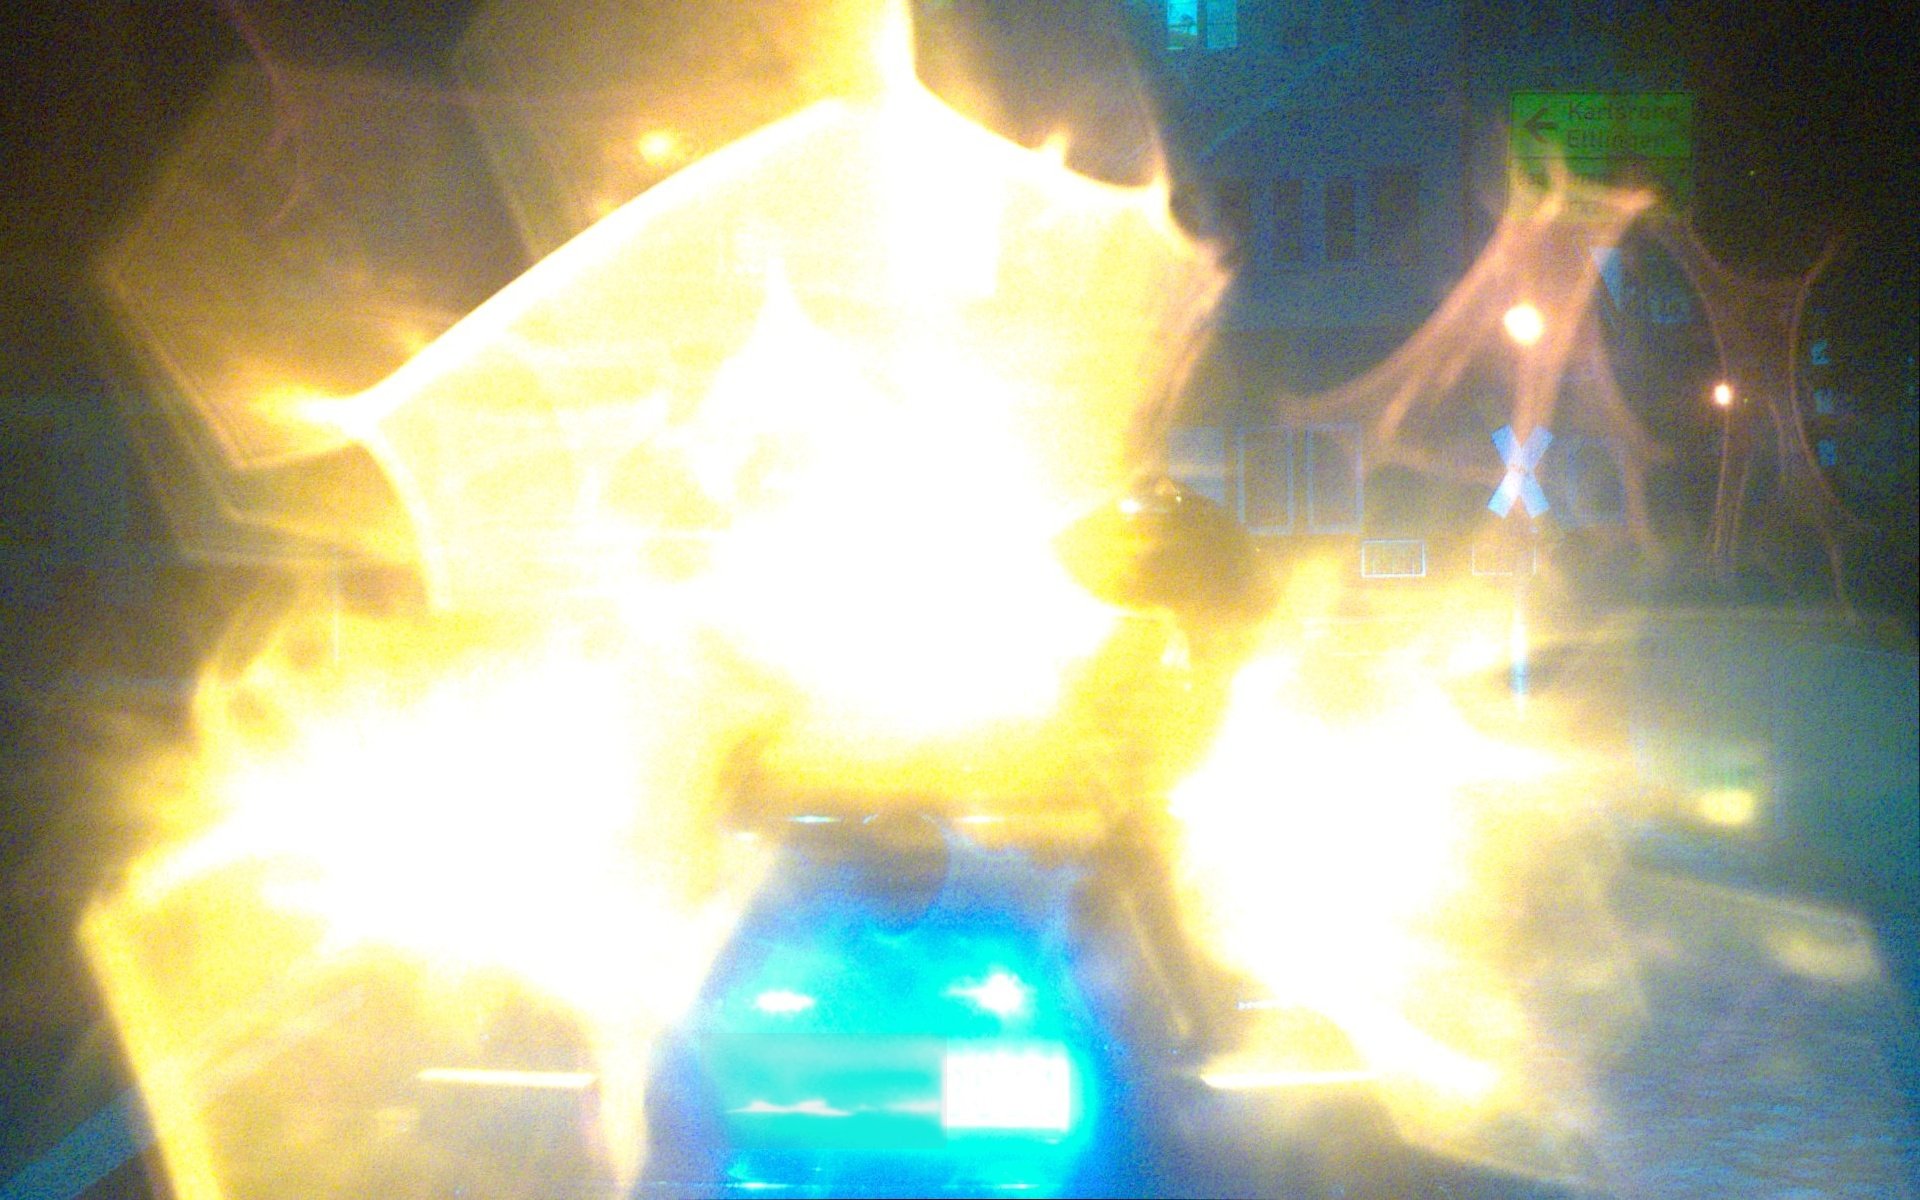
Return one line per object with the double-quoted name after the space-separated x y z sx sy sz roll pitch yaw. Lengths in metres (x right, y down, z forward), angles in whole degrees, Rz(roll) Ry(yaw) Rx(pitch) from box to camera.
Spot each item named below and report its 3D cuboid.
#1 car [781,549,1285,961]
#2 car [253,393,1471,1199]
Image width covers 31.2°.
0.350 0.511 13.952 1.744 1.410 4.000 0 1 3 "car"
-0.127 0.486 7.021 1.791 1.675 3.904 0 1 1 "car"
